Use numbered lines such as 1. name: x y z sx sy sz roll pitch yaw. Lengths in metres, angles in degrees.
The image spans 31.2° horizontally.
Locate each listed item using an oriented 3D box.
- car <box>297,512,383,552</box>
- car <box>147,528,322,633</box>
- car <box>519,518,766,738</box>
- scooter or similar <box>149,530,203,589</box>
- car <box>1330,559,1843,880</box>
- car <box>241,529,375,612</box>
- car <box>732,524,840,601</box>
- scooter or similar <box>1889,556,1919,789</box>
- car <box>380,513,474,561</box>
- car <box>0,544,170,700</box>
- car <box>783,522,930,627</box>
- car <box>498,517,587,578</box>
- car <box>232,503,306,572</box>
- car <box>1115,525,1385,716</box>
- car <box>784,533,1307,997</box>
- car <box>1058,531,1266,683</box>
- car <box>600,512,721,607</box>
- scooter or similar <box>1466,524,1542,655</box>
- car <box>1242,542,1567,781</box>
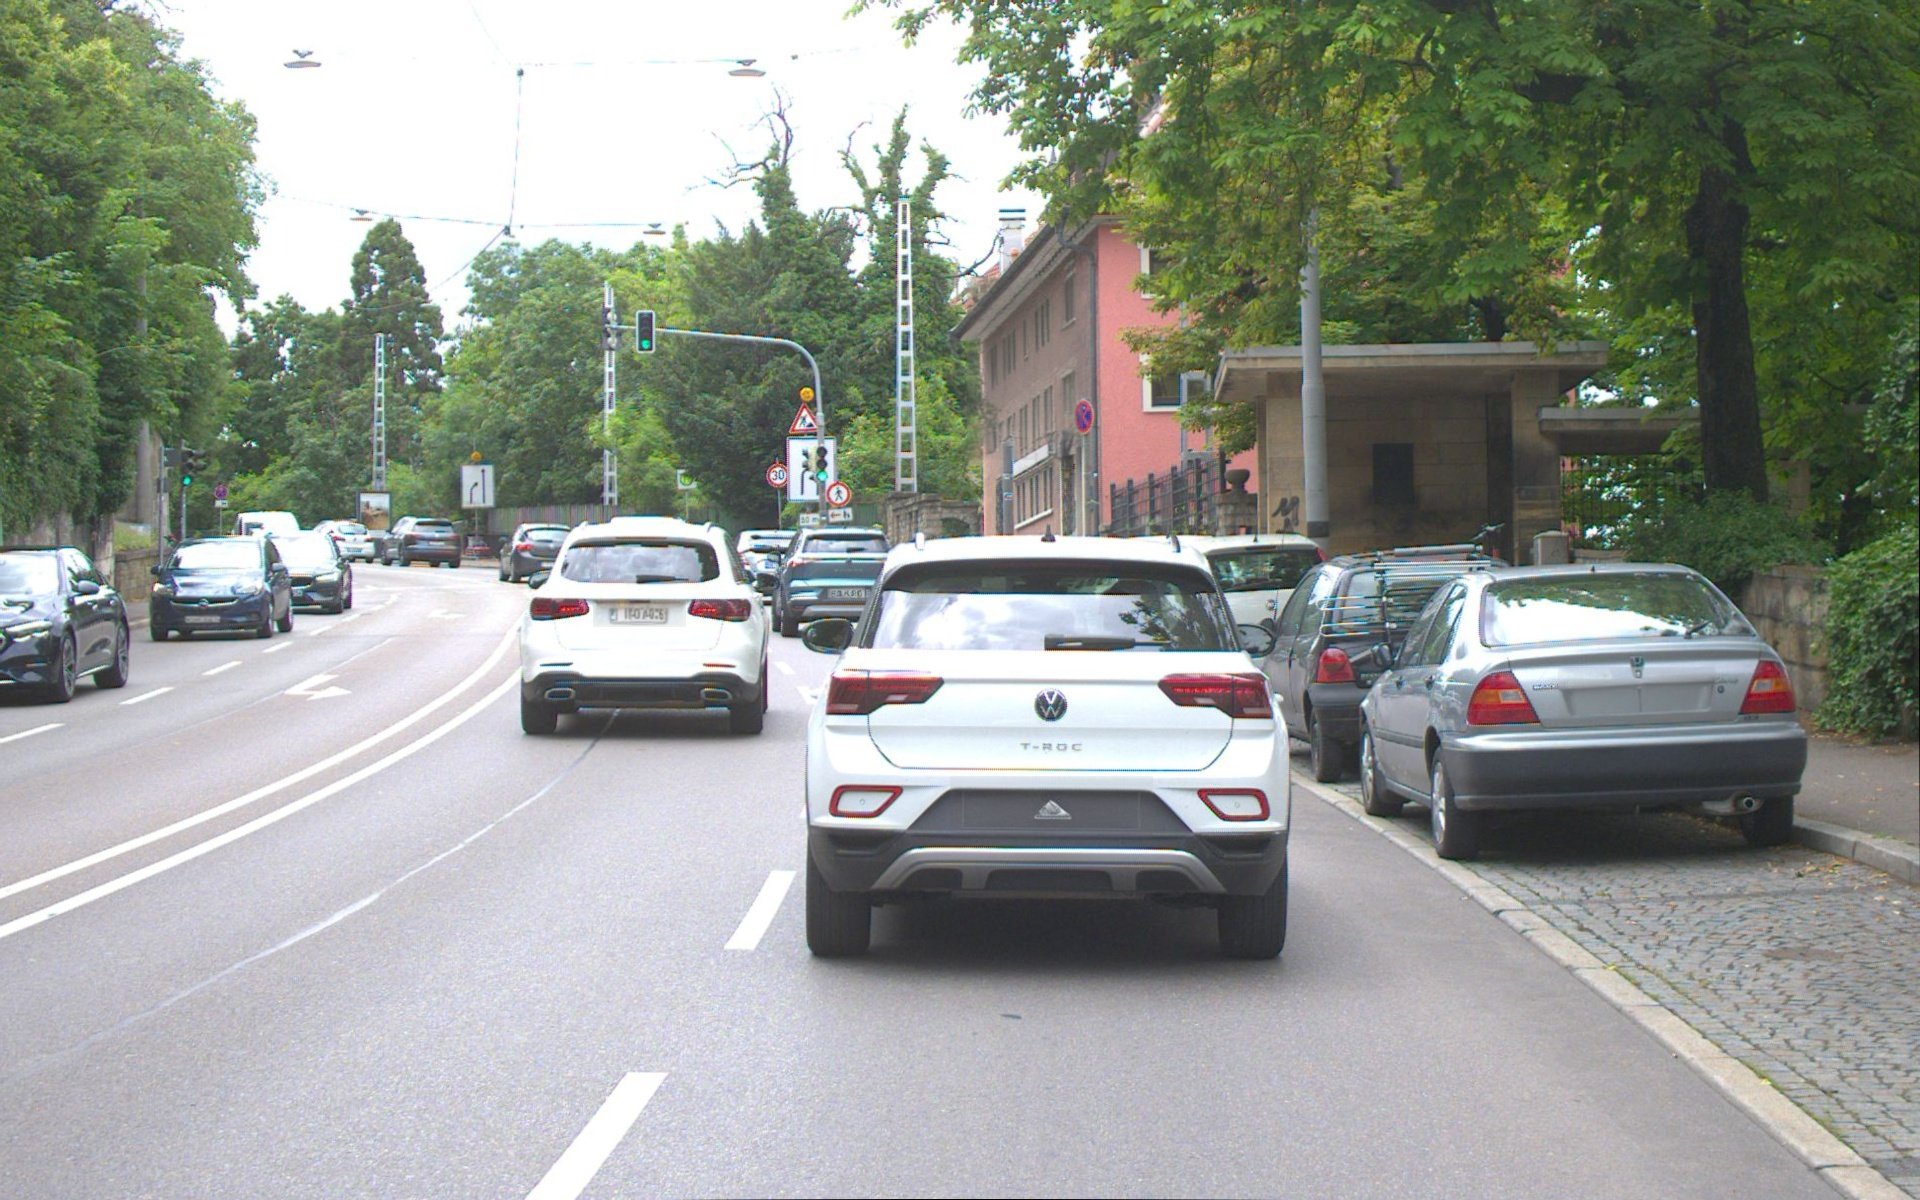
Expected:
1. car: -22.951 -2.500 127.175 1.993 1.445 4.151 0 0 -27
2. car: -10.515 -0.317 50.058 1.842 1.431 4.001 -1 1 -3
3. car: -2.476 0.194 27.580 1.757 1.604 3.796 1 0 -3
4. scooter or similar: -17.539 -0.902 76.922 0.434 1.233 1.096 4 0 35
5. car: 3.061 0.513 17.738 1.770 1.394 4.551 -2 1 0
6. car: -11.794 -0.559 62.438 1.842 1.404 4.456 -1 1 -4
7. car: -3.385 -0.719 66.273 1.993 1.445 4.151 0 0 -4
8. scooter or similar: 5.334 0.378 17.575 0.561 1.240 1.999 -5 0 2
9. car: -17.909 -2.102 115.383 1.993 1.570 4.151 0 0 -26
10. car: -9.223 0.181 33.382 2.002 1.404 4.755 -1 1 0
11. car: -1.482 -0.367 49.226 1.993 1.409 4.151 -1 0 -2
12. car: -10.308 -1.284 84.632 1.780 1.449 4.001 1 1 -13
13. car: -19.273 -1.758 95.800 1.892 1.842 4.398 -1 1 -13
14. car: 2.522 0.128 30.754 1.715 1.466 4.039 -4 2 -4
15. car: 0.308 0.554 13.704 1.758 1.550 3.795 1 0 1
16. car: 2.077 0.028 36.433 1.675 1.456 4.366 -2 1 -3
17. car: -5.160 -0.726 59.701 1.993 1.551 4.151 1 1 -4
18. scooter or similar: 5.385 -0.116 34.098 0.516 1.256 1.168 -3 1 0
19. car: 2.927 0.360 23.232 1.561 1.417 3.425 -3 1 -2
